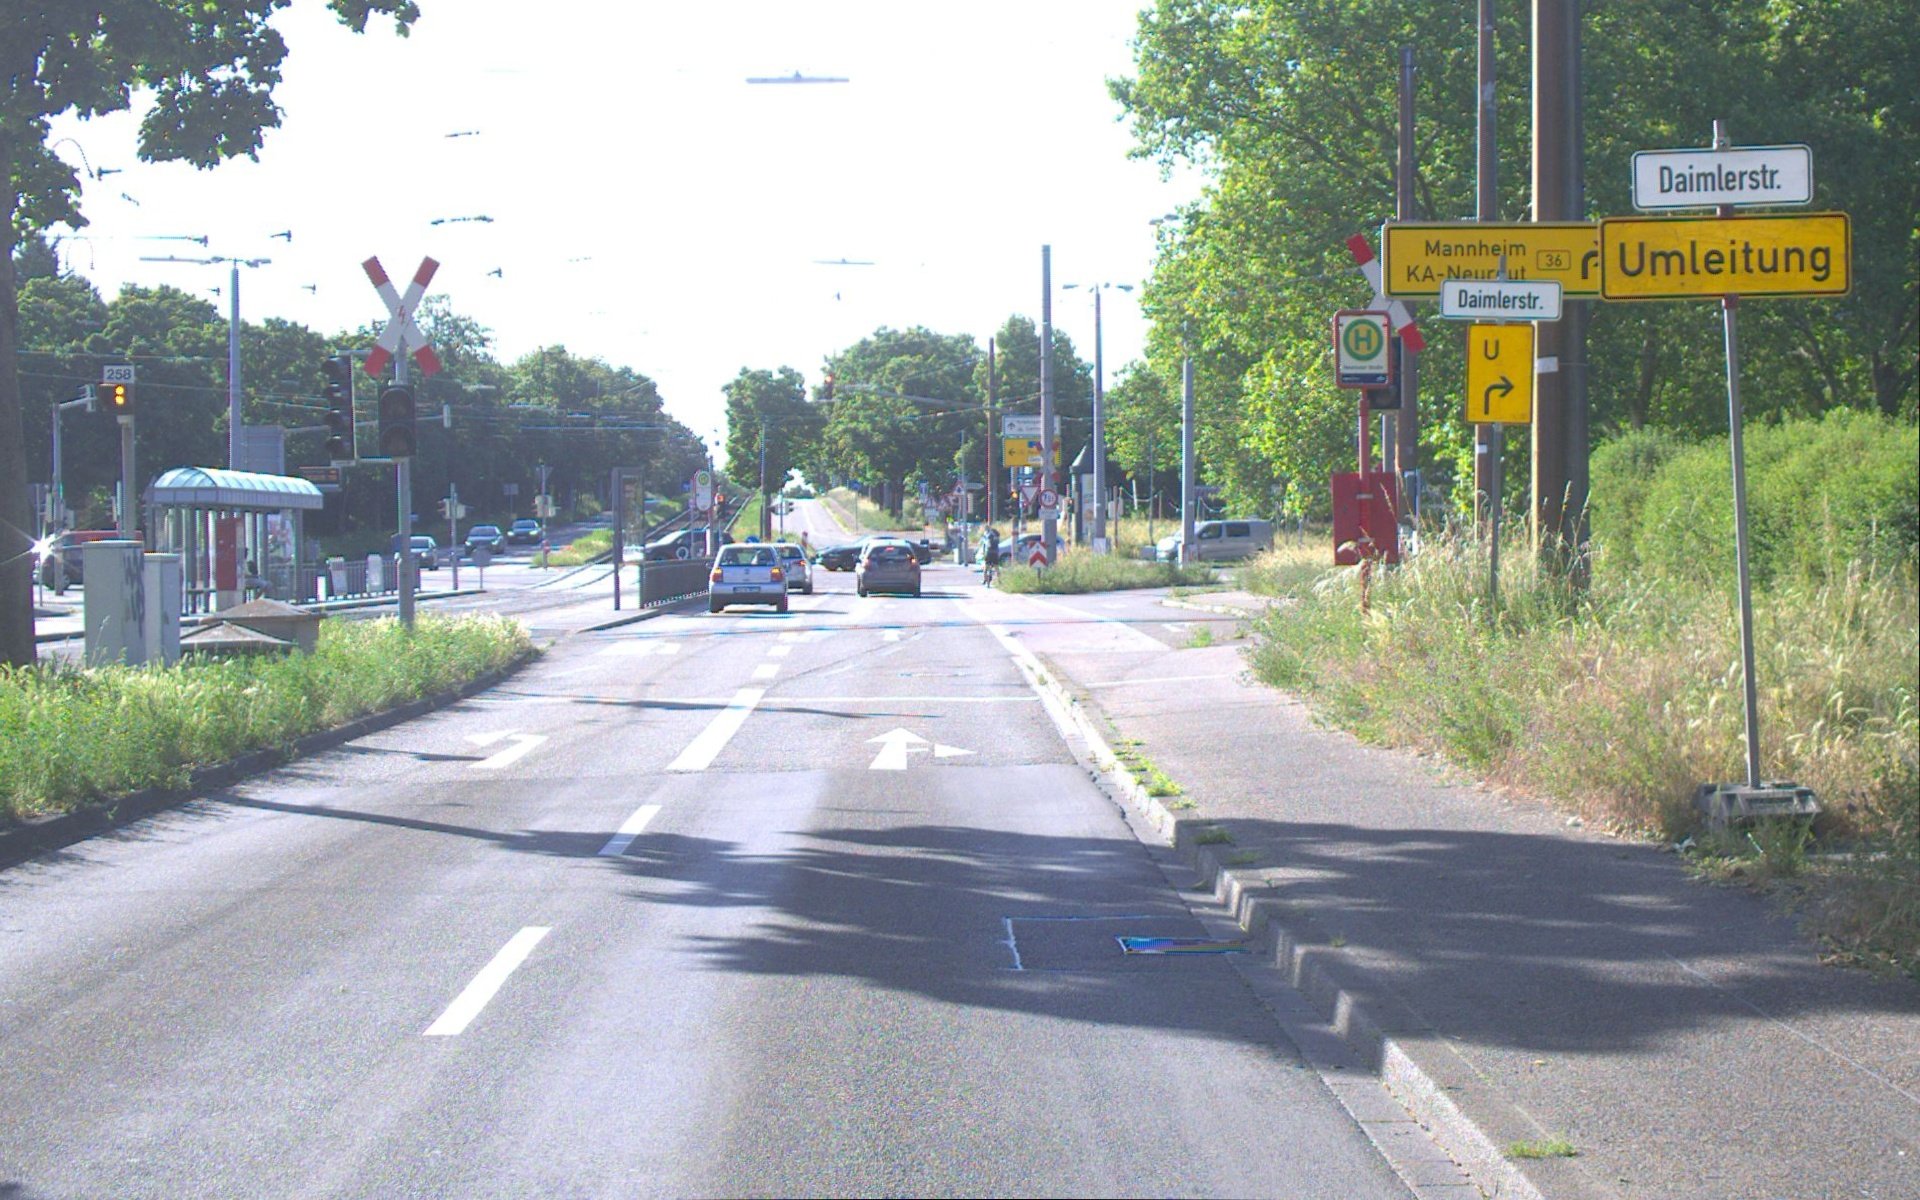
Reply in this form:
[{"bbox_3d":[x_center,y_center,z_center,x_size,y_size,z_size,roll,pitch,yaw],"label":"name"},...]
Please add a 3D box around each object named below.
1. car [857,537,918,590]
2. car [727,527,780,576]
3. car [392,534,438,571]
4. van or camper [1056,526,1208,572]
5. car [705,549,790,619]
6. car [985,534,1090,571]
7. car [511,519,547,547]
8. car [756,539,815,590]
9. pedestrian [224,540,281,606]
[{"bbox_3d":[-2.015,-1.024,95.809,1.668,1.457,3.586,0,1,-1],"label":"car"},{"bbox_3d":[-8.760,-2.063,146.217,1.993,2.007,4.492,1,0,-1],"label":"car"},{"bbox_3d":[-23.522,-2.055,148.478,1.832,1.543,4.001,-1,1,-7],"label":"car"},{"bbox_3d":[6.973,-2.076,139.831,5.967,1.822,2.000,0,1,-4],"label":"van or camper"},{"bbox_3d":[-4.472,-0.353,72.658,1.619,1.413,3.351,-1,1,-1],"label":"car"},{"bbox_3d":[3.253,-1.999,144.409,3.986,1.468,1.752,1,0,-22],"label":"car"},{"bbox_3d":[-25.427,-3.944,202.896,1.993,1.599,4.756,0,1,-8],"label":"car"},{"bbox_3d":[-5.107,-1.047,101.045,1.619,1.452,4.085,0,1,-1],"label":"car"},{"bbox_3d":[-15.795,-0.607,76.774,1.060,1.448,1.007,-1,0,-1],"label":"pedestrian"}]
